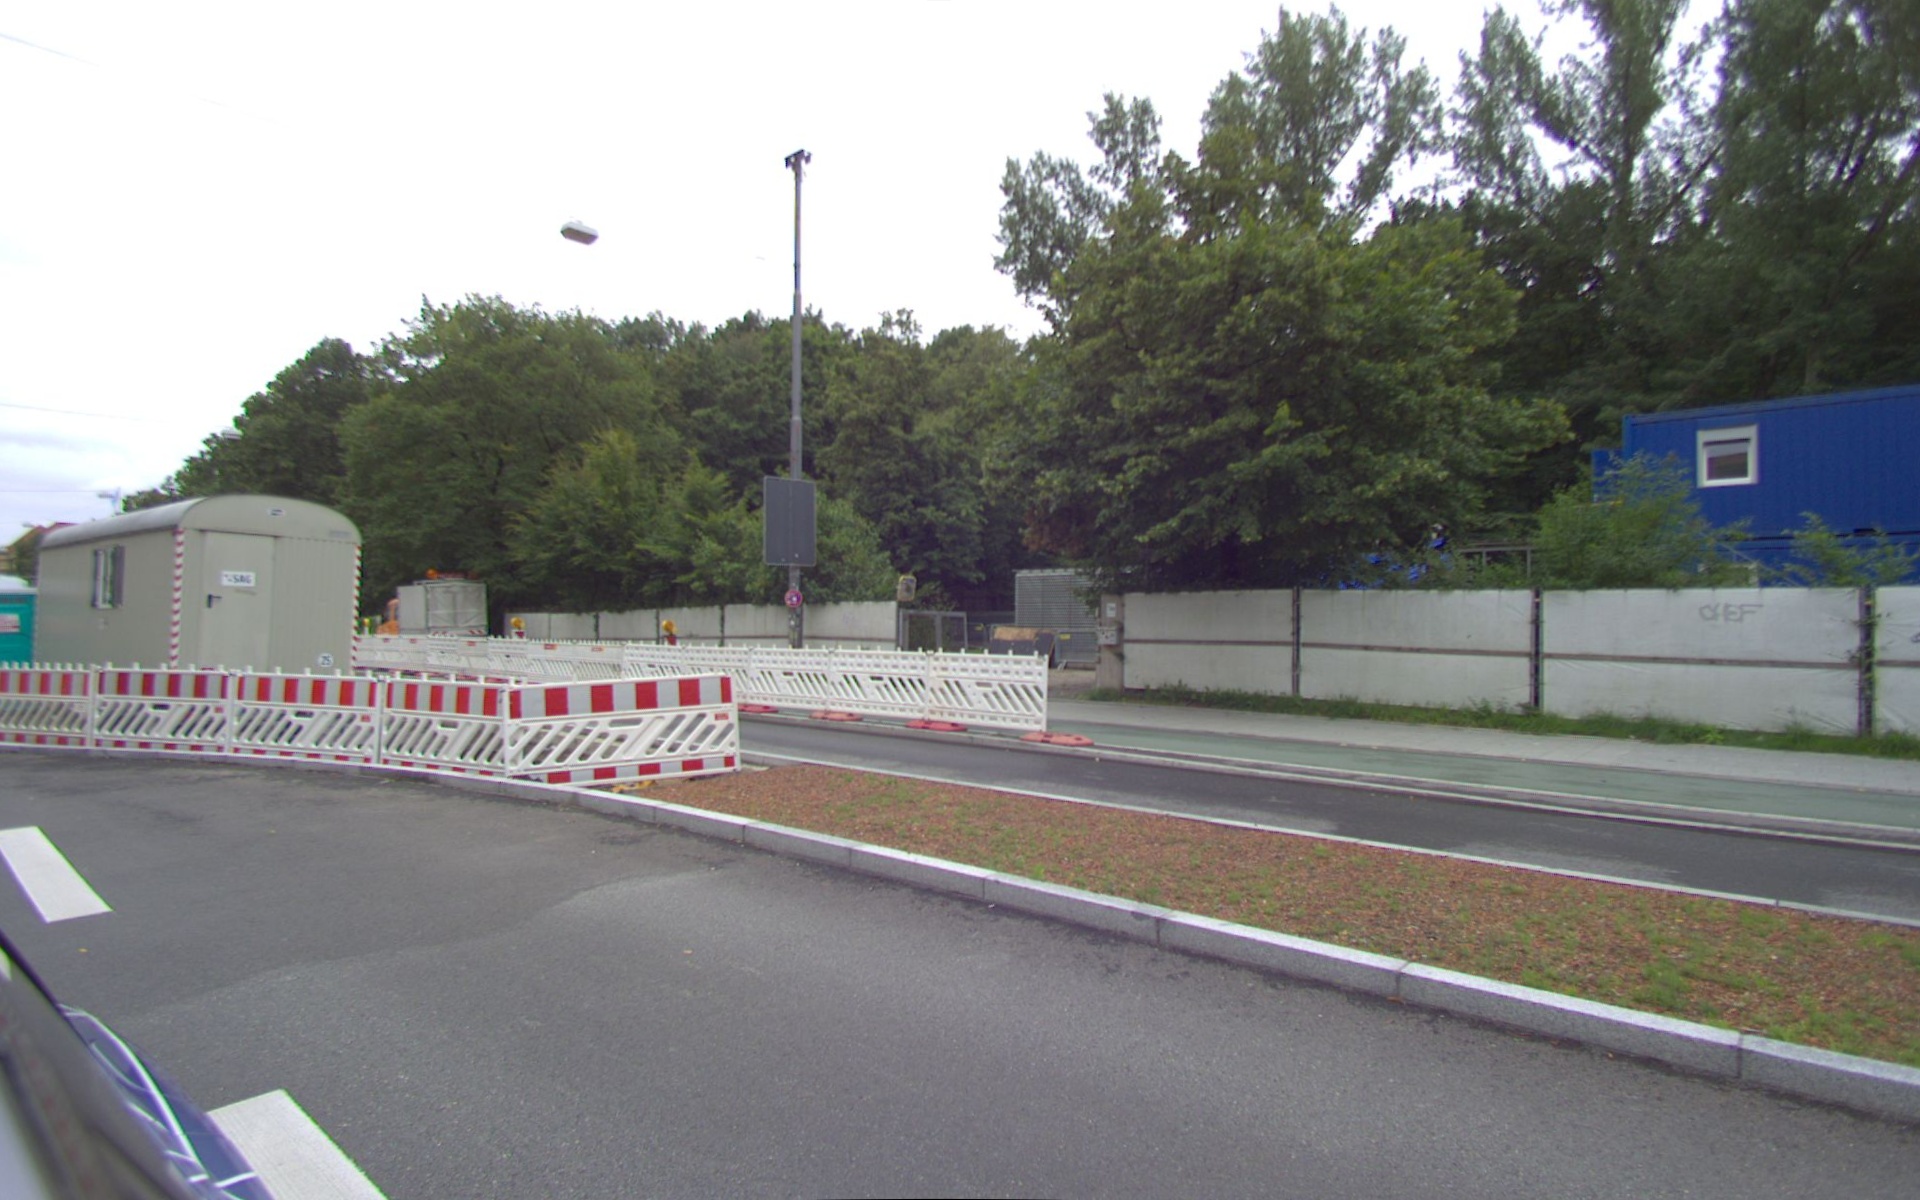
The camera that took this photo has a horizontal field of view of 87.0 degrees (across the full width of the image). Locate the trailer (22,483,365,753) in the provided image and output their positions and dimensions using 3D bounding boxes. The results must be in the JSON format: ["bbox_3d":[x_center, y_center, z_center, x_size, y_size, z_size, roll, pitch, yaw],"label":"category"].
[{"bbox_3d":[-11.911,0.312,15.430,7.506,3.268,2.206,-1,-2,37],"label":"trailer"}]

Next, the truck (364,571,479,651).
[{"bbox_3d":[-20.091,0.463,37.625,5.869,2.749,1.972,-2,-2,43],"label":"truck"}]
